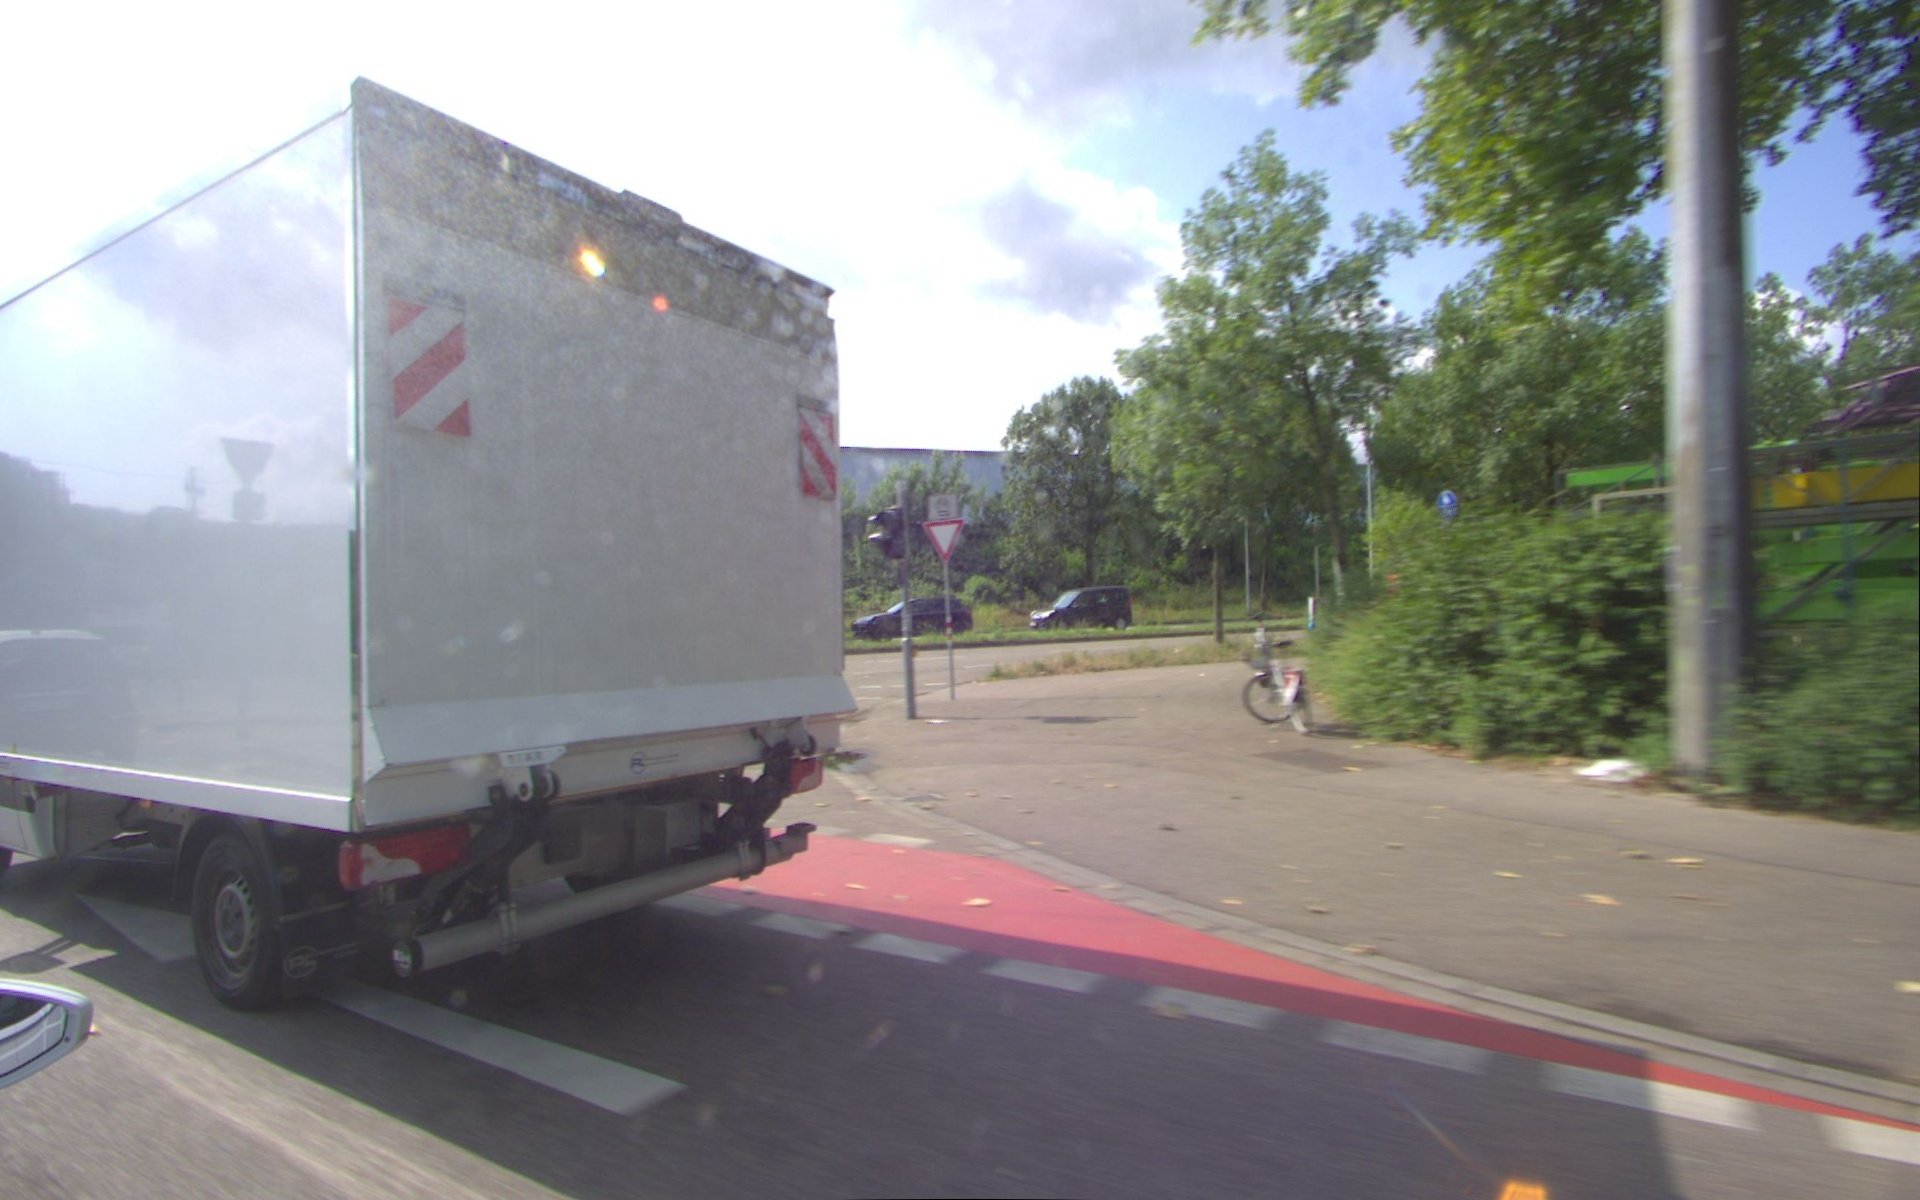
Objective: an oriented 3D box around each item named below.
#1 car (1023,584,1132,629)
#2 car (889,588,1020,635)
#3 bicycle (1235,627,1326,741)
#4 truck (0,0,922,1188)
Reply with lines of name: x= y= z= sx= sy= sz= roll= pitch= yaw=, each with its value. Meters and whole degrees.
car: x=4.787 y=0.238 z=40.906 sx=4.136 sy=1.657 sz=1.637 roll=-2 pitch=2 yaw=-23
car: x=-0.212 y=0.414 z=38.827 sx=4.720 sy=1.665 sz=1.815 roll=-2 pitch=1 yaw=-20
bicycle: x=3.476 y=0.875 z=10.970 sx=0.518 sy=1.056 sz=1.636 roll=-4 pitch=1 yaw=5
truck: x=-3.323 y=0.003 z=5.295 sx=5.943 sy=3.162 sz=2.441 roll=0 pitch=0 yaw=33
